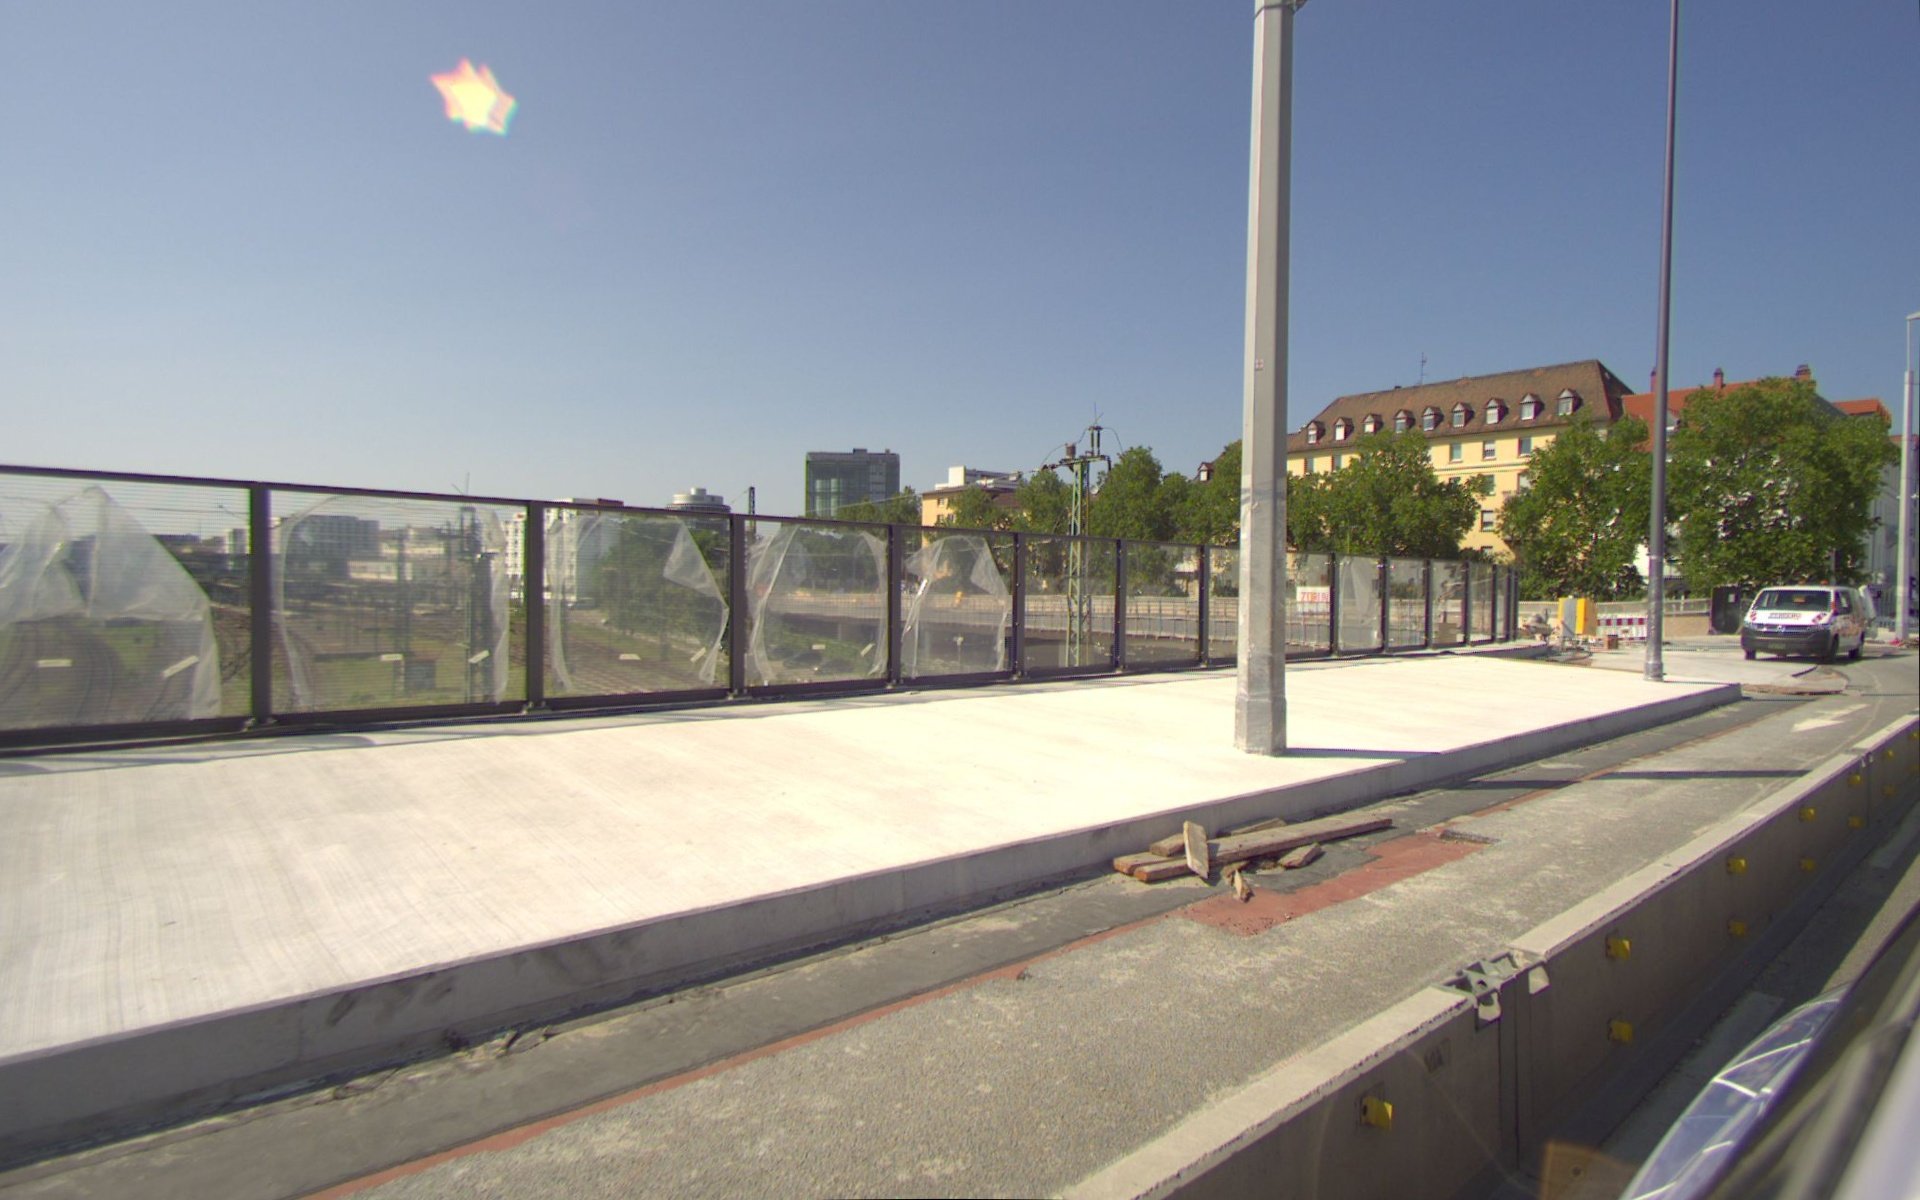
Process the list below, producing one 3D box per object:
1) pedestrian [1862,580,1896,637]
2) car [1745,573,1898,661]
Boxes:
[{"bbox_3d":[33.447,0.281,36.832,0.828,2.009,0.761,-1,3,-40],"label":"pedestrian"},{"bbox_3d":[23.136,0.339,27.080,6.353,2.116,1.938,-1,2,-39],"label":"car"}]
